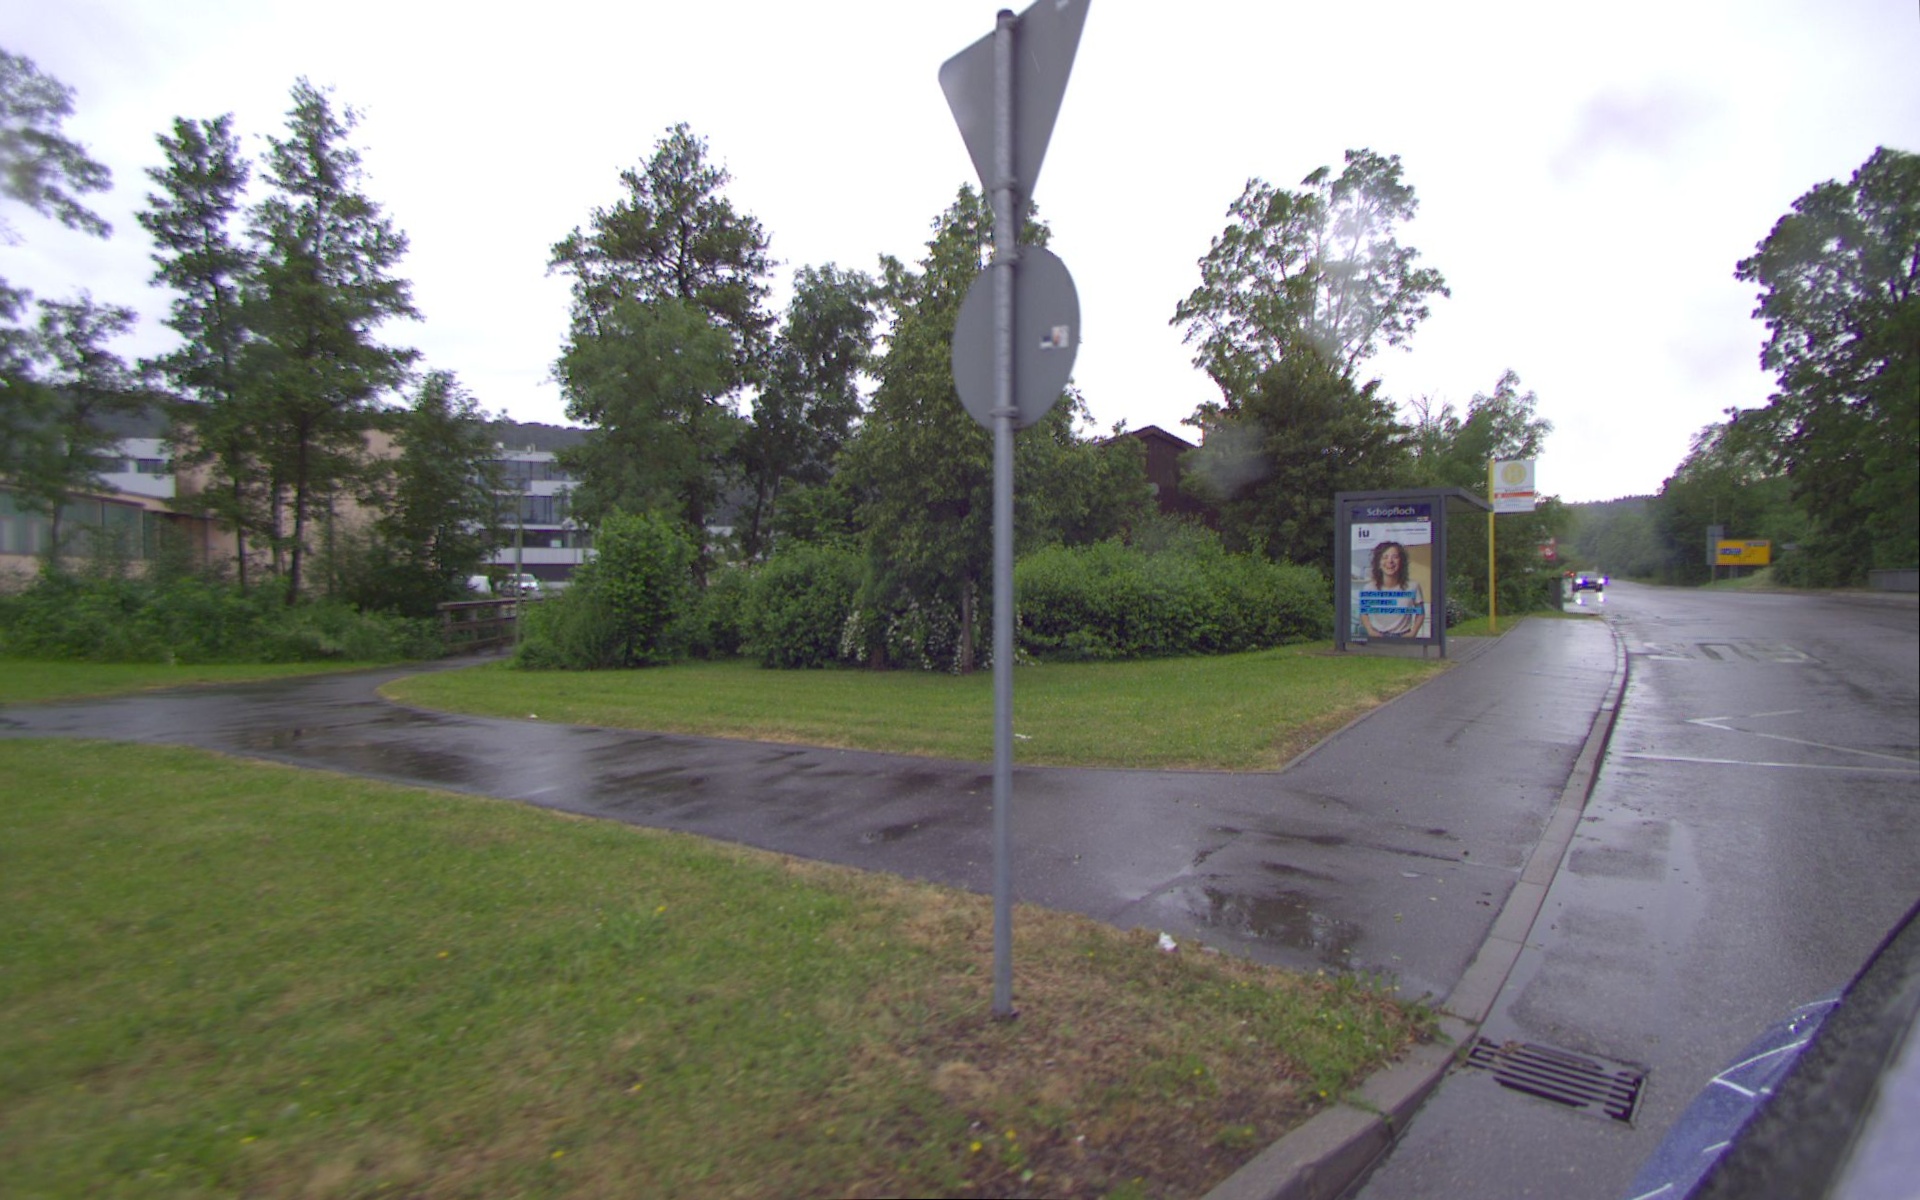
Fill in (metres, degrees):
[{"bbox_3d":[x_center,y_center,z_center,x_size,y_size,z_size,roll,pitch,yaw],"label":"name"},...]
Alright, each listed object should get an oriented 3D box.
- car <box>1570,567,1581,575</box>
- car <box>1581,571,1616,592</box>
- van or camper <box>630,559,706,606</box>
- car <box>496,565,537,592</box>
[{"bbox_3d":[121.709,-5.683,200.192,1.822,1.542,3.954,0,1,32],"label":"car"},{"bbox_3d":[47.509,-1.379,75.250,1.847,1.508,4.065,0,1,38],"label":"car"},{"bbox_3d":[-15.417,-0.962,53.875,2.494,2.272,5.980,1,2,-2],"label":"van or camper"},{"bbox_3d":[-35.680,-1.732,81.371,1.965,2.038,3.995,-3,3,-40],"label":"car"}]
